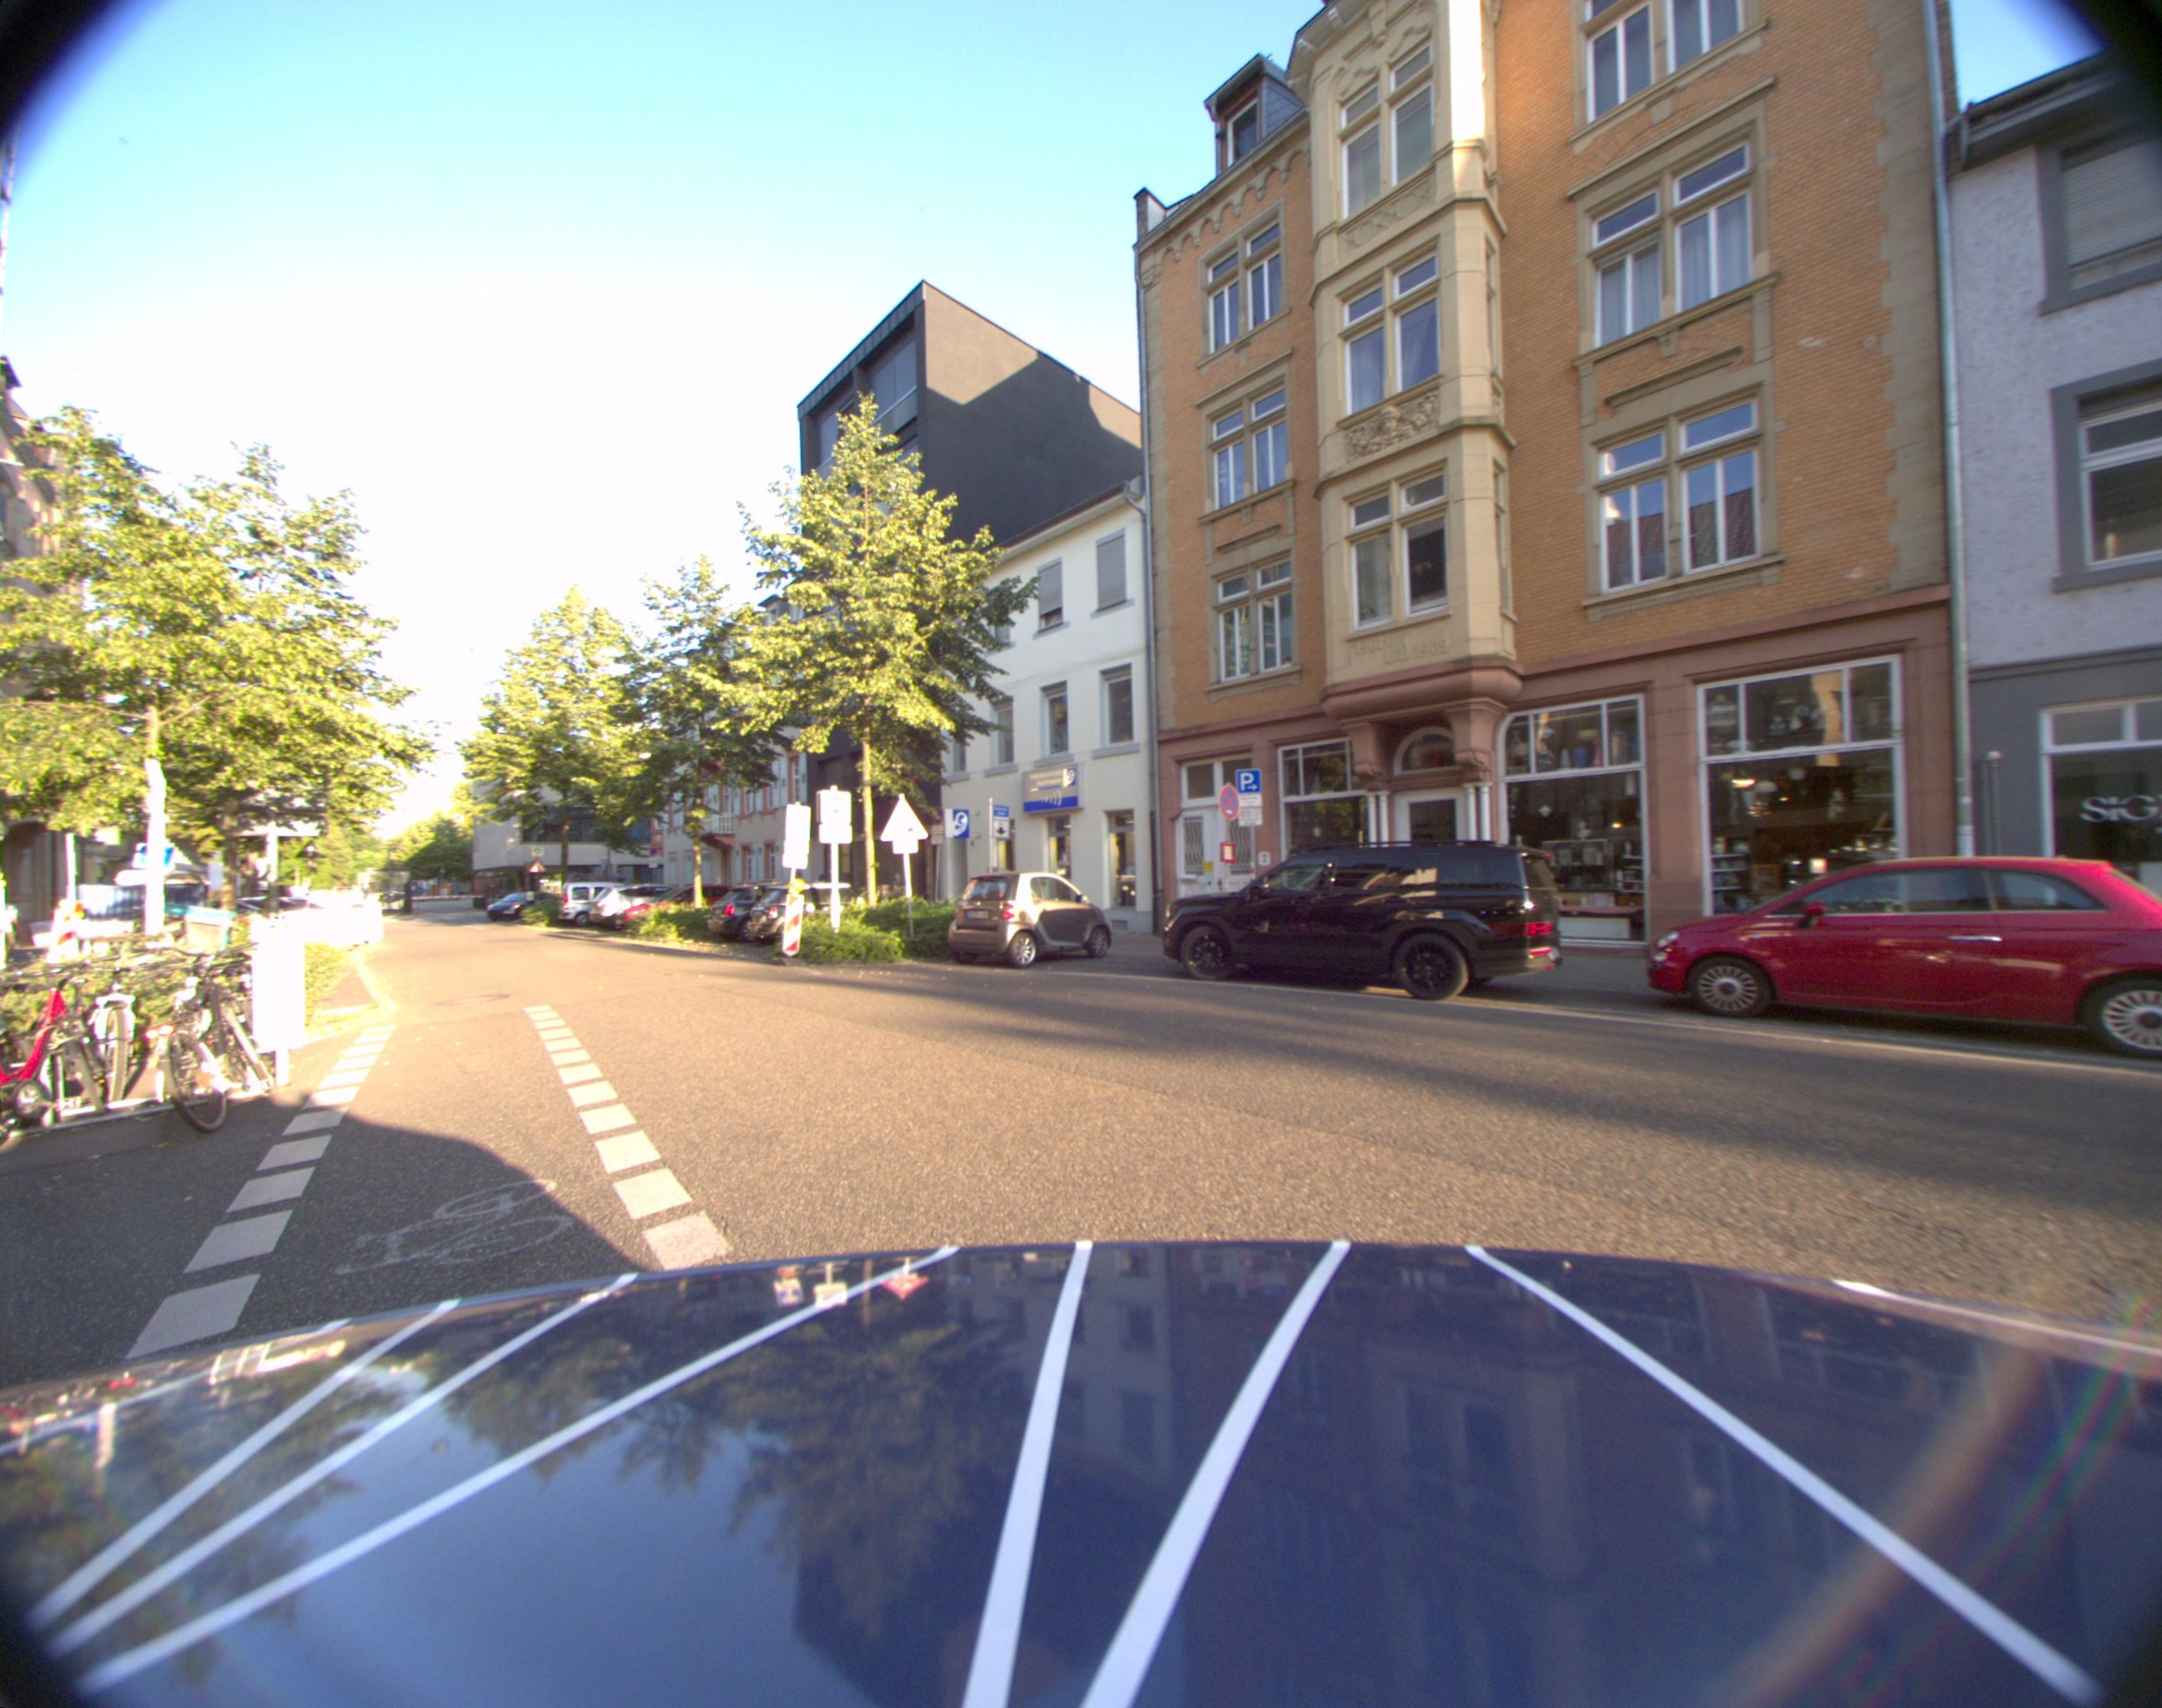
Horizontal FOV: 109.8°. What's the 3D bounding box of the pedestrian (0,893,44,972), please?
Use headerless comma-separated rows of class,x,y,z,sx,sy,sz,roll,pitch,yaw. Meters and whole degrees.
pedestrian,-24.666,1.799,17.557,0.655,1.772,0.745,-2,-1,43

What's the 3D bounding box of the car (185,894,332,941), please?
car,-33.806,2.575,31.414,4.008,1.673,1.886,0,-2,-43

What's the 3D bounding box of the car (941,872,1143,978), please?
car,-0.593,1.144,13.439,1.503,1.566,3.489,-2,-1,42

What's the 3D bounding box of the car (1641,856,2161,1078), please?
car,7.280,0.848,6.800,1.534,1.560,3.412,1,-2,-44

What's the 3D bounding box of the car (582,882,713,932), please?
car,-15.692,1.876,27.617,1.853,1.659,3.706,-2,-3,43

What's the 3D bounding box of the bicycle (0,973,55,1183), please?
bicycle,-6.509,1.345,4.340,0.419,1.150,1.548,-1,-1,-40

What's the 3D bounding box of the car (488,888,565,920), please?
car,-28.654,2.537,39.384,1.859,1.558,3.694,0,-2,-12

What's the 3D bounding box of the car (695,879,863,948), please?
car,-7.955,1.504,20.219,1.853,1.659,3.706,-2,-3,43

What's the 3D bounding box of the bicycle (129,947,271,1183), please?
bicycle,-5.809,1.295,5.069,0.500,1.213,1.548,-1,-1,-45

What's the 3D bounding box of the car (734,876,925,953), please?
car,-6.030,1.390,18.554,1.853,1.659,4.018,-2,-3,43

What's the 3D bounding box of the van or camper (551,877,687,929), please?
van or camper,-19.056,1.973,31.508,1.853,1.993,4.465,-2,-3,43

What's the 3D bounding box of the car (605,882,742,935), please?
car,-13.802,1.785,25.885,1.853,1.659,3.706,-2,-3,43

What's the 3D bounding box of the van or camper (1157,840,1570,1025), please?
van or camper,3.352,0.838,9.518,4.448,1.796,1.900,-2,-2,39

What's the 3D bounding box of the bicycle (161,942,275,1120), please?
bicycle,-7.040,1.368,6.244,0.510,1.171,1.548,-1,-1,-45

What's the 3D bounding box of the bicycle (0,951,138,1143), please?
bicycle,-7.634,1.373,5.724,0.490,1.156,1.548,-1,-1,-45

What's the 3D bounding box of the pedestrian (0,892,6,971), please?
pedestrian,-24.696,1.753,16.927,0.745,1.772,0.655,-1,-1,-45
